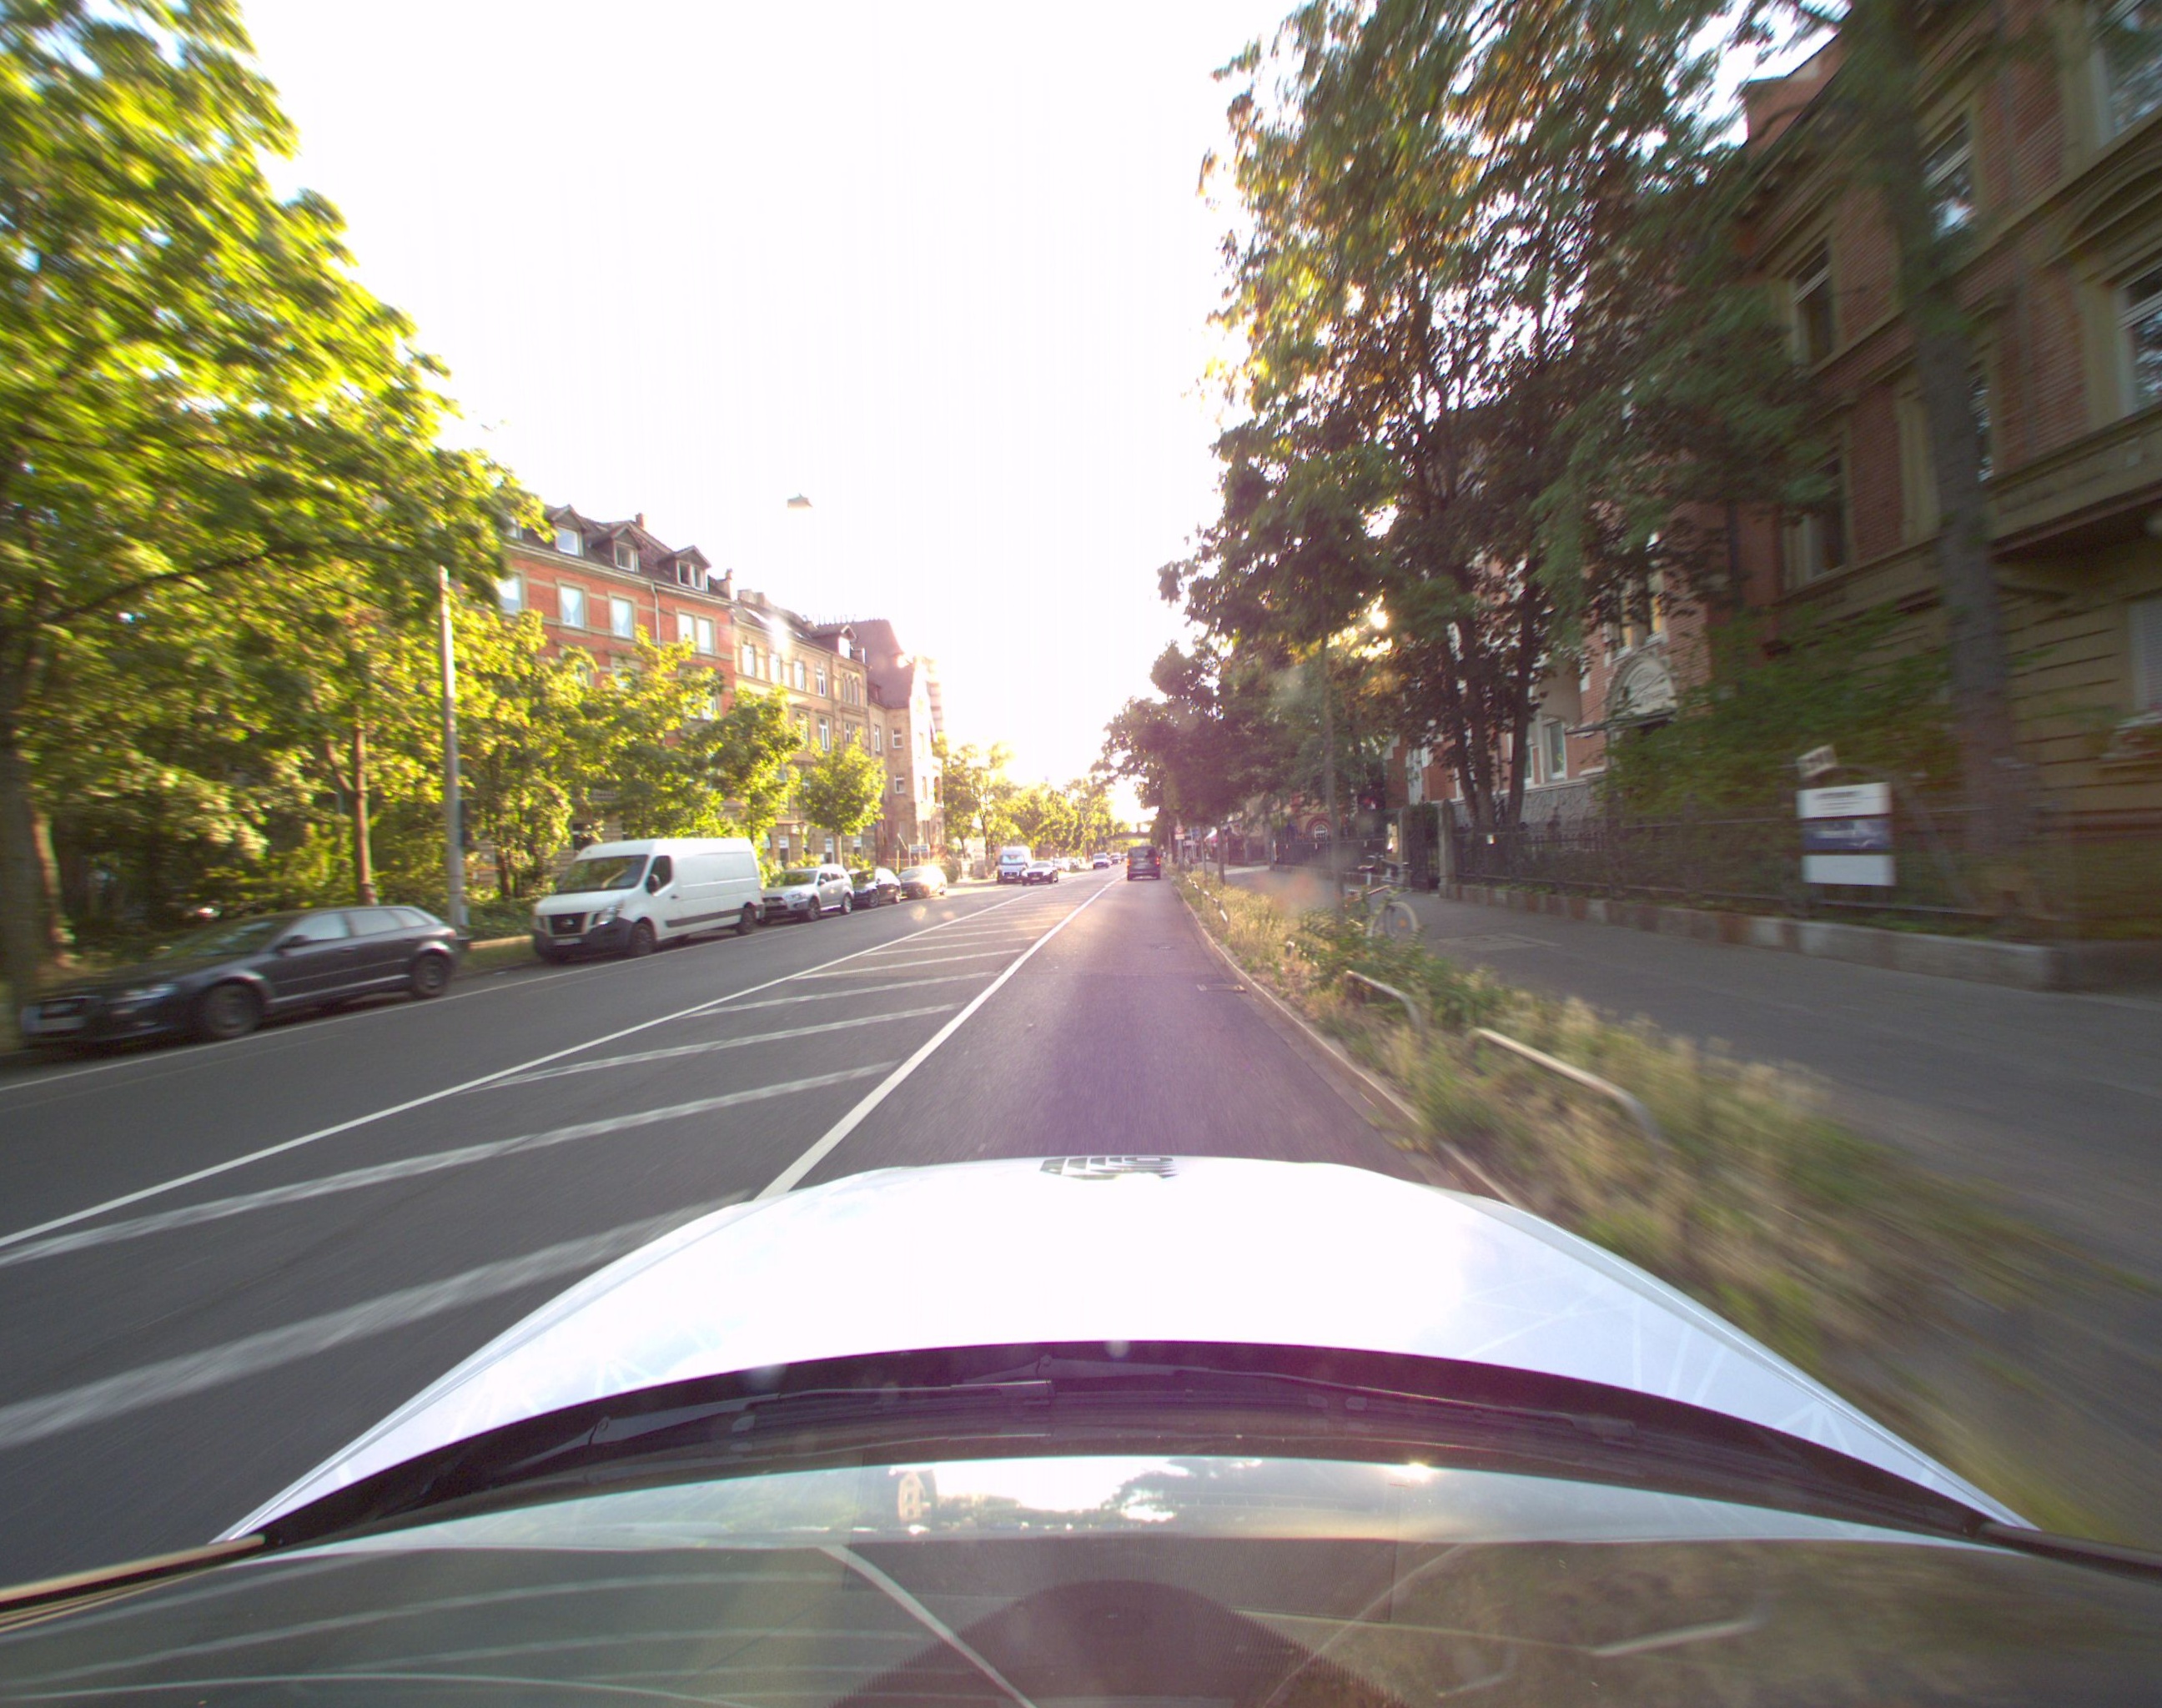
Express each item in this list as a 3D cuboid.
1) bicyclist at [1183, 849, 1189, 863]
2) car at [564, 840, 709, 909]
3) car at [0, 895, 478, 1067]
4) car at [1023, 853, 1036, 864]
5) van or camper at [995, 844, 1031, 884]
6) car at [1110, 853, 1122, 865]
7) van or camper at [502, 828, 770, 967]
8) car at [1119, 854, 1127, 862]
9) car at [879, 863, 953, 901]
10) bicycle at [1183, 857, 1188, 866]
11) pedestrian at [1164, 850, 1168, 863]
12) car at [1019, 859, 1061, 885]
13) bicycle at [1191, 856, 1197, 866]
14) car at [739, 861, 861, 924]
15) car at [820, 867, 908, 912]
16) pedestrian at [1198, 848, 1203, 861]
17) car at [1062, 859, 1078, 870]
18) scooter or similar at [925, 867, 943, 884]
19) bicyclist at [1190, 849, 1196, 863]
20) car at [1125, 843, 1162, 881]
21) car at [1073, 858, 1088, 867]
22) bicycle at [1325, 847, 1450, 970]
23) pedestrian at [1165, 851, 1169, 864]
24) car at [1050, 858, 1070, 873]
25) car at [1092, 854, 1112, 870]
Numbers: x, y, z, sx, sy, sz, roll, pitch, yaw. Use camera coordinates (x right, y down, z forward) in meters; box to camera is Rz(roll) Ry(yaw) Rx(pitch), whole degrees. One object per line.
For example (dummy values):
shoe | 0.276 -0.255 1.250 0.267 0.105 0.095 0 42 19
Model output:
bicyclist | 11.888 0.214 92.450 0.593 1.532 0.894 -1 0 5
car | -20.142 0.860 37.180 2.099 2.739 5.343 -4 0 30
car | -10.226 1.400 10.376 1.621 1.429 4.247 -4 0 4
car | -10.870 0.913 172.170 1.984 2.307 5.252 -1 0 5
van or camper | -4.808 0.658 58.336 1.987 2.668 6.039 -1 0 1
car | 5.879 0.810 136.543 1.825 1.852 4.479 -4 0 4
van or camper | -9.572 0.812 18.429 2.081 2.468 6.312 -4 0 4
car | 9.216 0.883 178.497 1.671 1.530 4.006 -5 0 5
car | -7.523 1.225 37.604 1.984 1.483 4.835 -3 0 5
bicycle | 11.868 0.836 92.512 0.541 1.040 2.091 -1 0 5
pedestrian | 12.661 0.412 121.688 0.504 1.889 0.543 -1 0 -10
car | -2.420 1.058 49.544 1.757 1.402 4.552 -3 0 6
bicycle | 12.787 0.802 92.387 0.515 1.040 2.091 -1 0 5
car | -8.695 1.138 25.687 1.857 1.645 4.577 -4 0 4
car | -8.211 1.309 31.305 1.728 1.445 4.631 -3 0 5
pedestrian | 14.664 0.088 99.870 0.641 1.633 0.657 -1 0 5
car | -1.303 1.275 99.932 1.631 1.385 4.004 -1 0 4
scooter or similar | -9.943 1.430 55.170 1.124 1.057 0.285 -4 -1 -43
bicyclist | 12.769 0.201 92.511 0.593 1.532 0.894 -1 0 5
car | 3.553 0.424 45.934 1.878 1.925 3.846 -3 0 6
car | -0.069 1.464 138.991 1.984 1.414 4.243 -1 0 5
bicycle | 3.231 0.526 8.781 0.644 1.167 1.931 -1 0 1
pedestrian | 12.743 0.534 121.016 0.504 1.889 0.543 -1 0 -10
car | -2.221 1.217 87.500 1.689 1.451 4.004 -1 0 4
car | 2.725 0.970 102.571 1.984 1.831 5.178 -4 0 6
